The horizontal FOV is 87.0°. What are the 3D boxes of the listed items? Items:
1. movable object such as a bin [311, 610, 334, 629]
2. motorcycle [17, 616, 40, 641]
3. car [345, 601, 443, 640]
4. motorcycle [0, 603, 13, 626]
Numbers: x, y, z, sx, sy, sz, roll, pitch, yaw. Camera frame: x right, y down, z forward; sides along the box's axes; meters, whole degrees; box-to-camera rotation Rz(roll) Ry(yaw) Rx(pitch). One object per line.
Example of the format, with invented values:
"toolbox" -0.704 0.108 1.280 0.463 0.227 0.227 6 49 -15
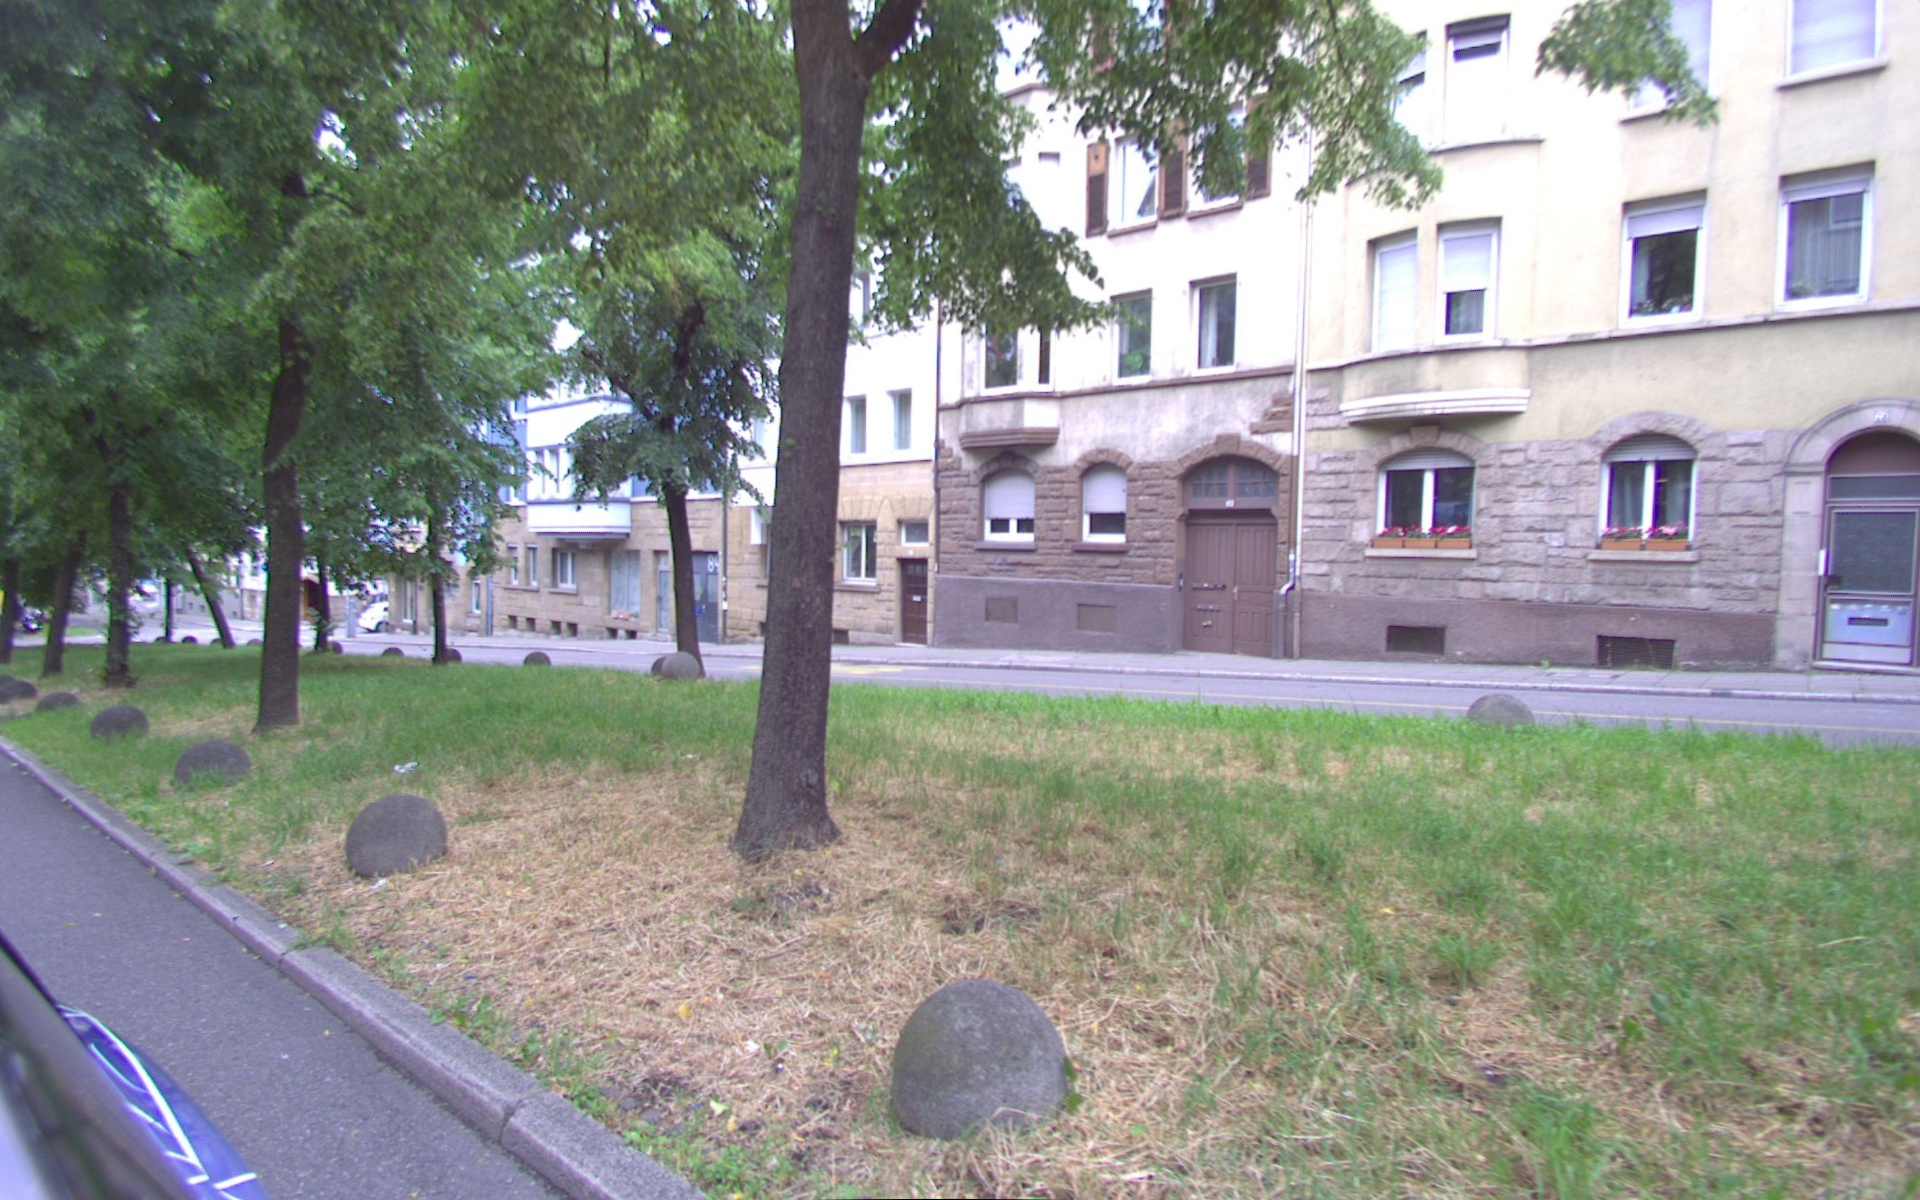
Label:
"movable object such as a bin" -35.537 1.085 56.399 0.668 1.001 0.877 0 4 40
"motorcycle" -44.990 1.359 48.887 0.740 1.081 1.854 -2 4 -41
"car" -29.252 1.010 52.401 1.869 1.480 3.960 2 7 38
"motorcycle" -65.852 0.964 68.572 0.963 1.494 2.392 3 2 41
